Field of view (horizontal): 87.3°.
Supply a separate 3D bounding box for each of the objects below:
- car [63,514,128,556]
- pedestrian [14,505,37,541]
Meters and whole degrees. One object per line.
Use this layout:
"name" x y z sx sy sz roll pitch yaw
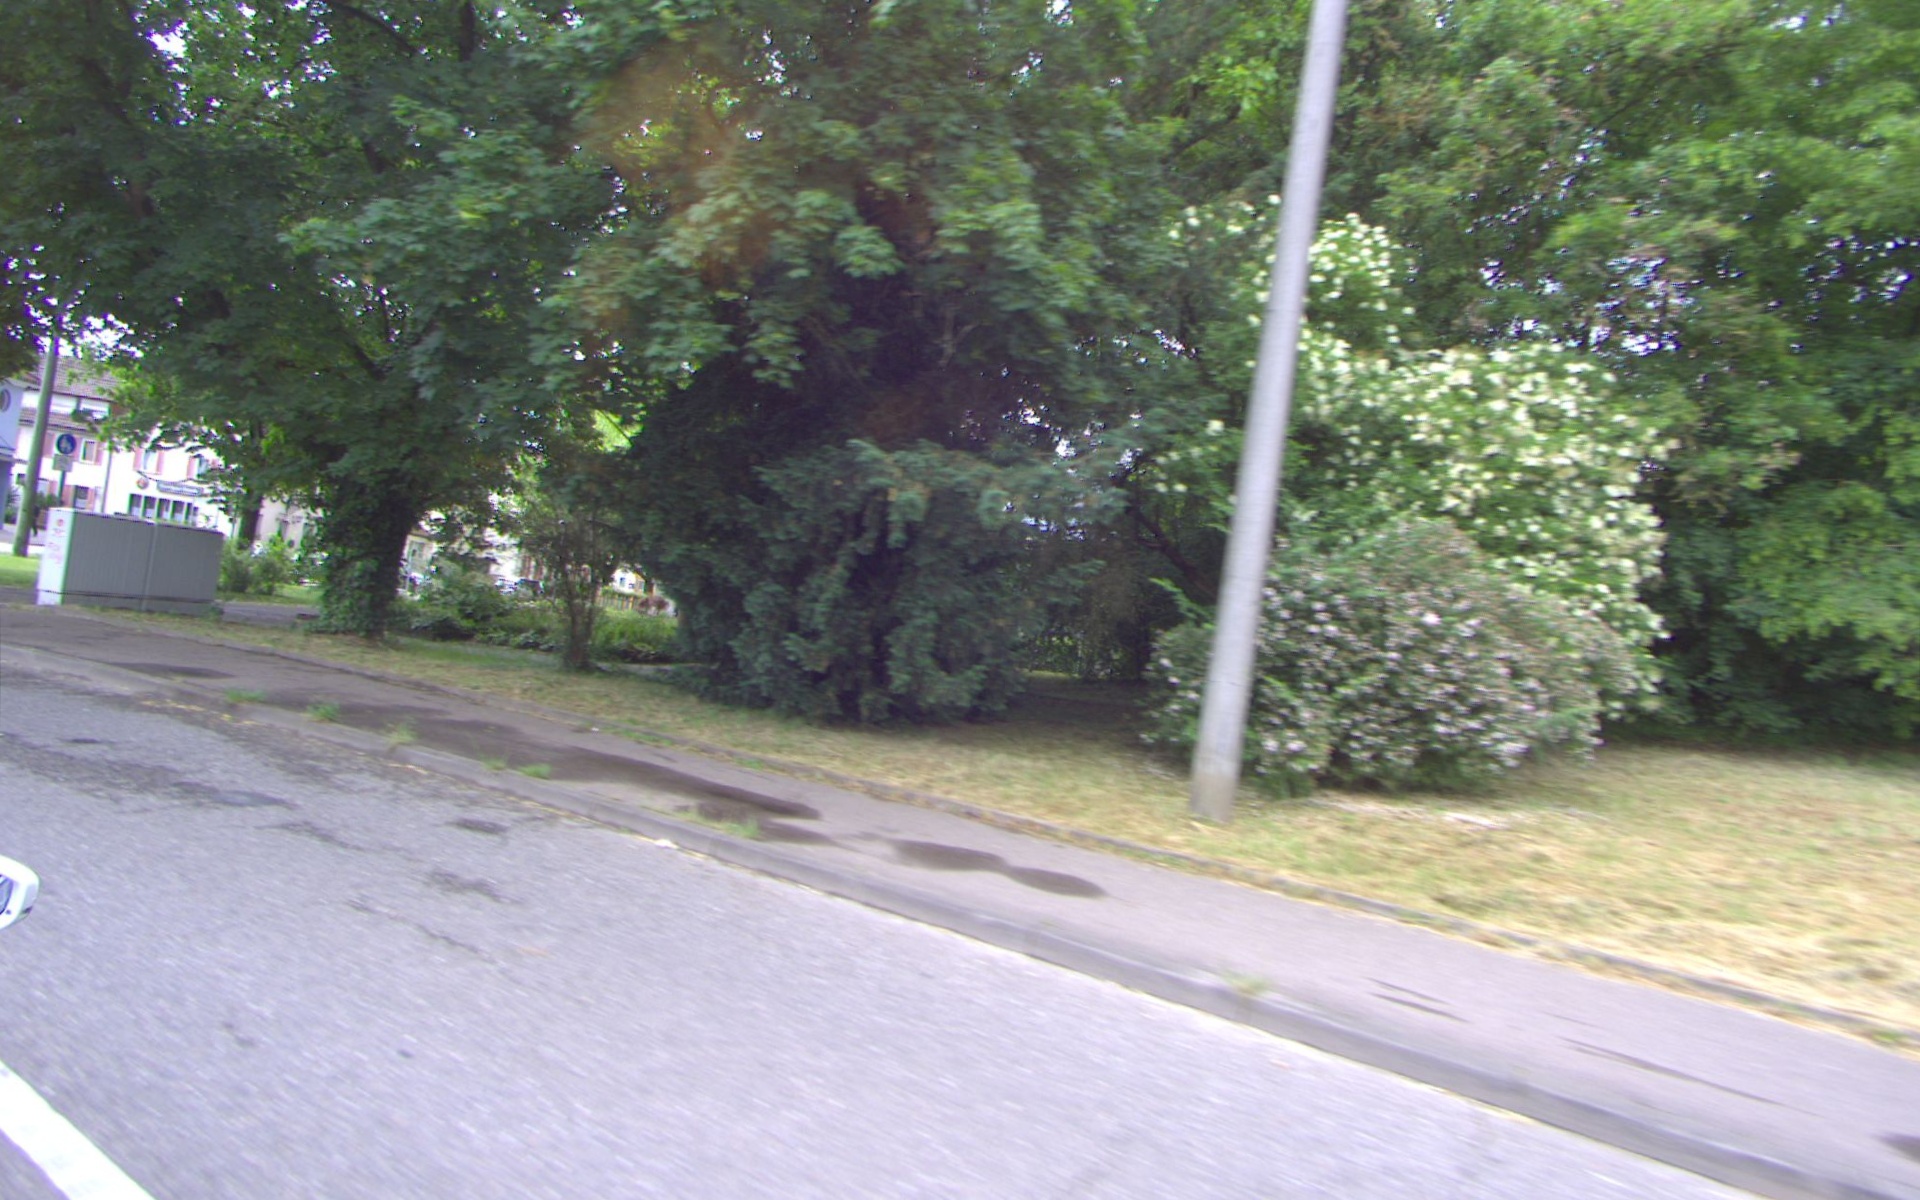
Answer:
"car" -45.817 -3.454 53.398 1.842 1.888 3.533 8 -1 -31
"pedestrian" -43.194 -3.555 46.507 0.492 1.571 0.404 7 0 -7
